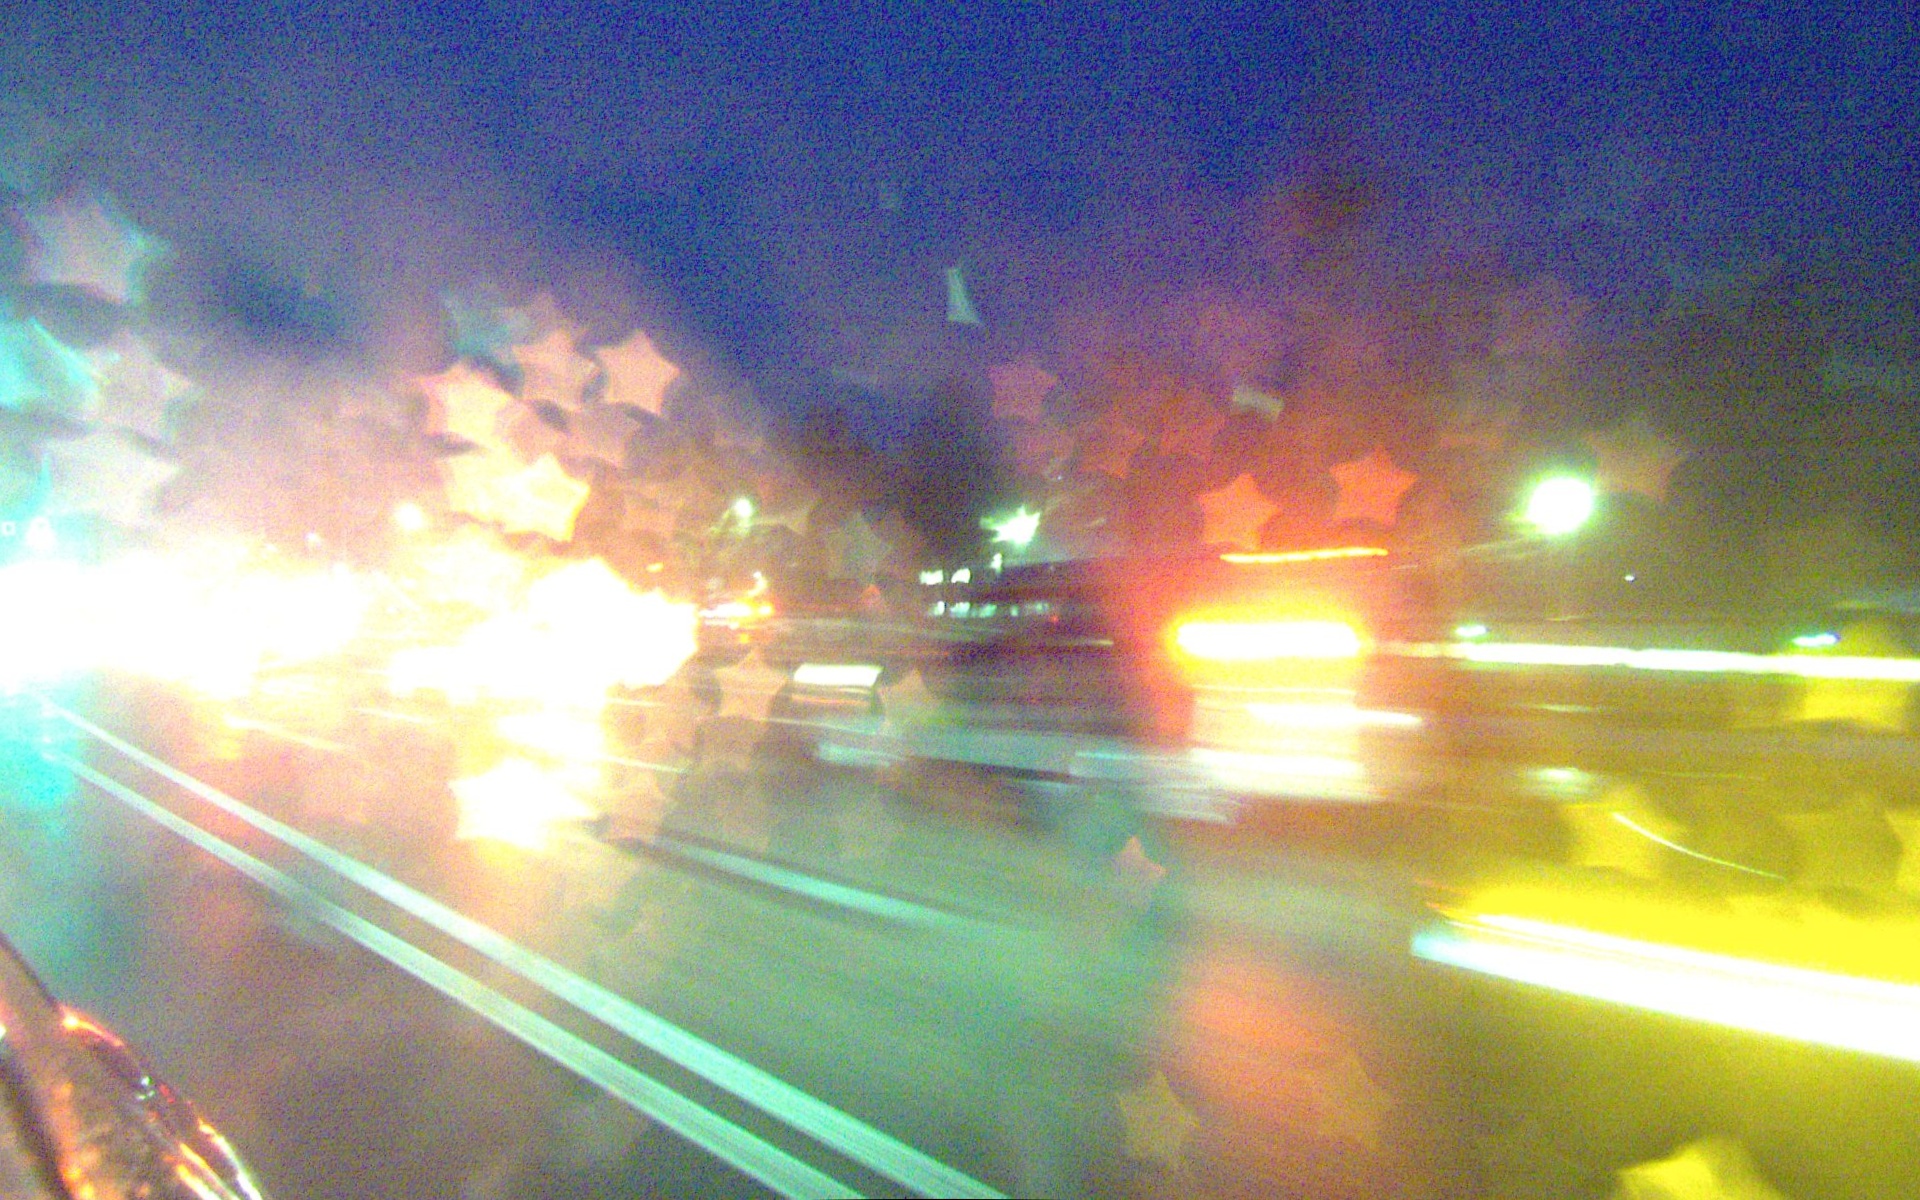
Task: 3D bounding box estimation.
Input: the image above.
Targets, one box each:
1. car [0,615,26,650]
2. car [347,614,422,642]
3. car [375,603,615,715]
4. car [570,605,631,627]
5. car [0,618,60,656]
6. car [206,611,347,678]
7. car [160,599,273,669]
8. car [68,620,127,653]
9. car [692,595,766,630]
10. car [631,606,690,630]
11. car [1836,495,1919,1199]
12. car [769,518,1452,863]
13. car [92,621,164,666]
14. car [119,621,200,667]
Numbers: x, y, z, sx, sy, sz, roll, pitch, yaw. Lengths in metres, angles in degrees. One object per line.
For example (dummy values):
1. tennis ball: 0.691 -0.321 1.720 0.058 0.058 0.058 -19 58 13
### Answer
1. car: -49.755 1.660 52.180 5.012 1.711 1.972 0 0 42
2. car: -40.176 1.974 70.776 4.446 1.858 2.006 1 -2 -26
3. car: -7.705 0.873 16.501 2.059 1.554 4.901 1 -2 -44
4. car: -27.183 1.222 76.523 3.961 1.603 1.991 -1 -1 14
5. car: -42.292 1.623 45.784 4.466 1.582 1.936 0 0 42
6. car: -17.870 1.103 26.340 2.156 1.570 5.207 1 -2 -44
7. car: -23.730 1.038 32.233 4.997 2.029 2.129 -1 -1 44
8. car: -41.196 1.716 48.307 3.602 1.463 1.802 0 0 44
9. car: -15.859 0.867 69.235 6.024 2.325 1.971 -1 -1 45
10. car: -21.979 1.289 74.193 4.439 1.706 1.829 -1 -1 36
11. car: 4.024 0.572 1.005 4.680 1.587 2.087 -1 -1 43
12. car: 0.790 0.547 8.119 1.970 1.879 5.323 1 -2 -44
13. car: -35.296 1.781 42.889 1.971 1.760 4.501 0 -1 -45
14. car: -29.135 1.552 36.791 1.943 1.540 3.690 0 -1 -45
